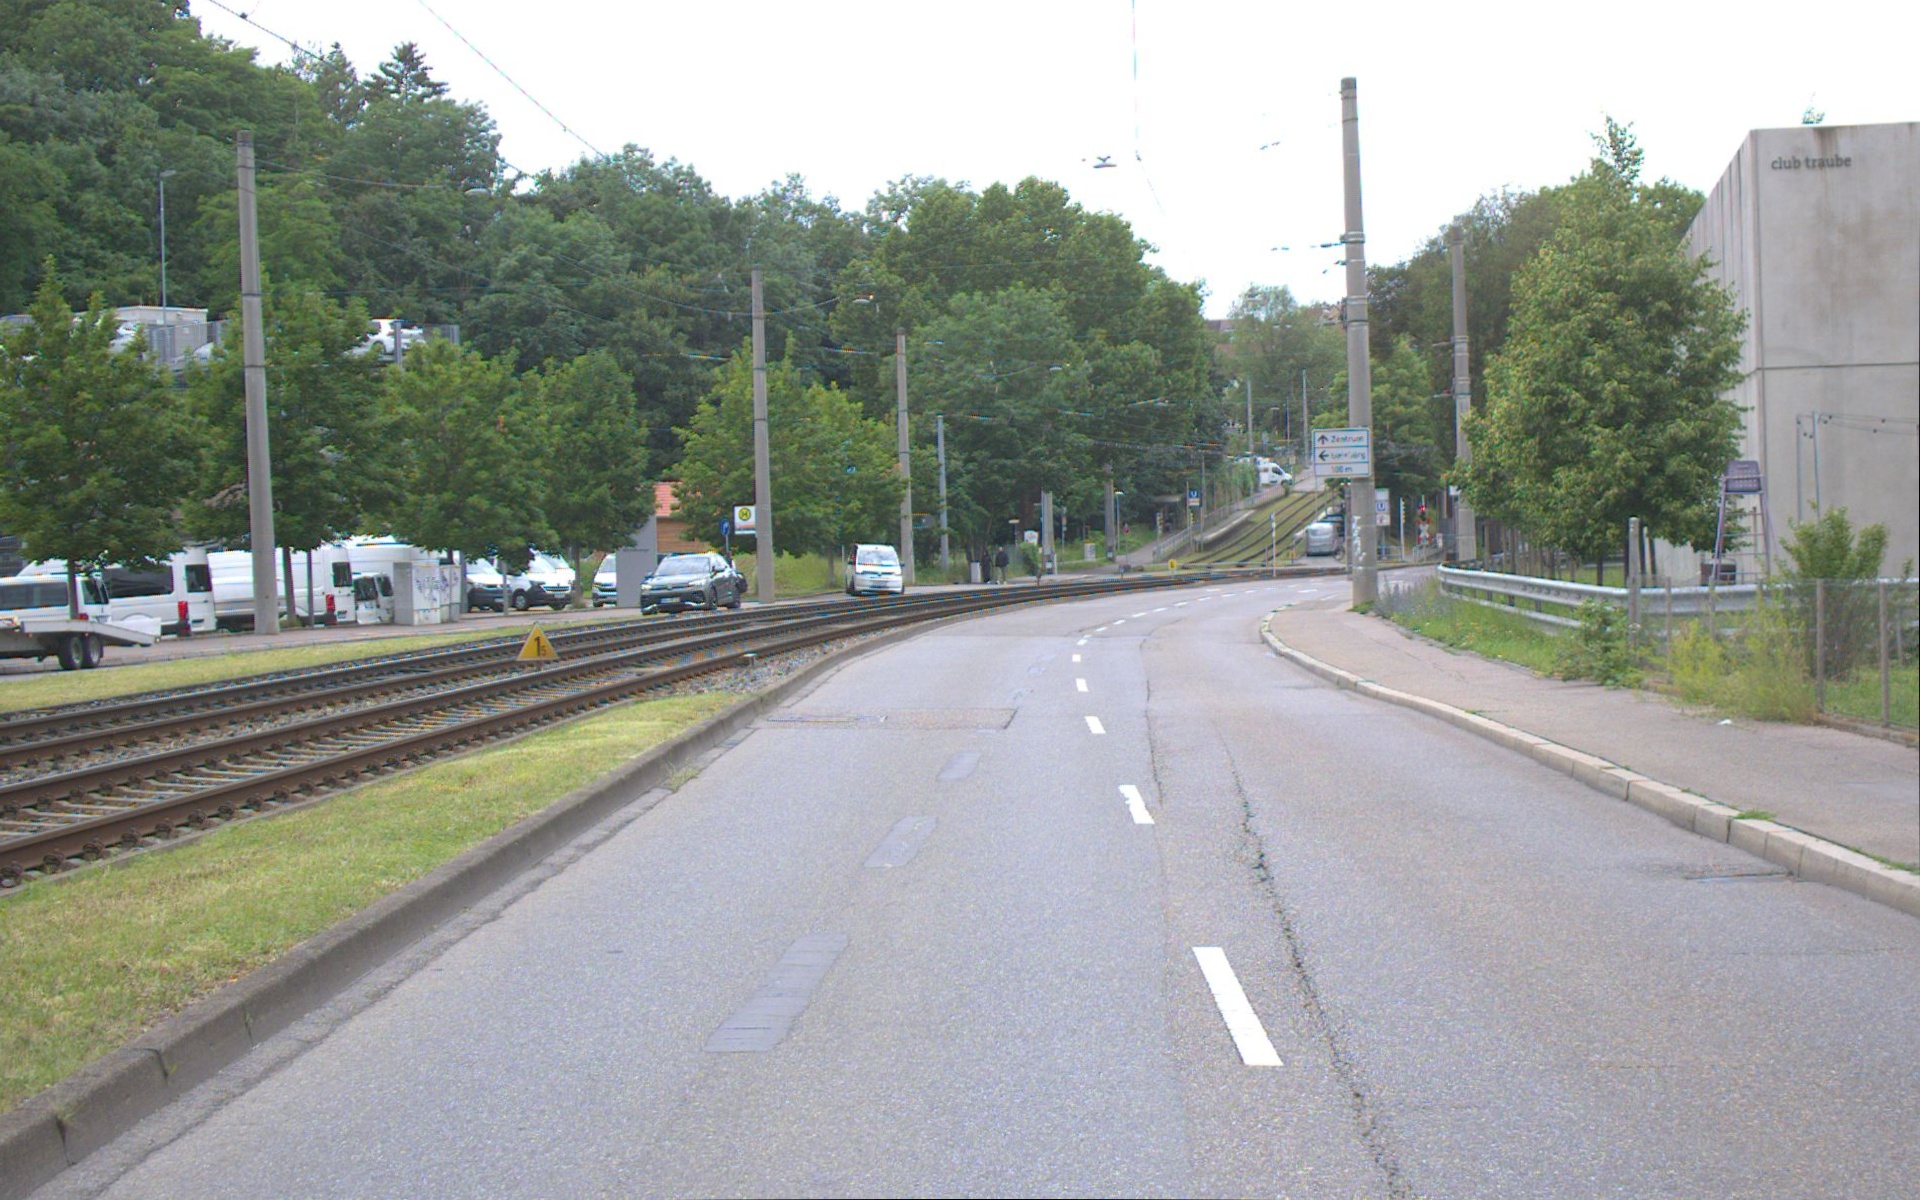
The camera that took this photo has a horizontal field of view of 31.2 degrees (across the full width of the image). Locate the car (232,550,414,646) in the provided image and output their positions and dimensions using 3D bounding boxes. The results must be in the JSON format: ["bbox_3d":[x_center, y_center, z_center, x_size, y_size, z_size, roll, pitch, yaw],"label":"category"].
[{"bbox_3d":[-17.730,-0.068,95.797,4.367,2.098,2.003,7,2,7],"label":"car"}]

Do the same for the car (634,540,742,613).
[{"bbox_3d":[-7.005,-0.601,89.067,1.994,1.733,4.533,-3,0,5],"label":"car"}]

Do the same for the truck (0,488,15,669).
[{"bbox_3d":[-16.415,-0.173,47.732,2.757,2.732,9.216,-3,1,8],"label":"truck"}]

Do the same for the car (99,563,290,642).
[{"bbox_3d":[-19.739,0.062,88.742,4.367,1.904,2.003,-1,1,7],"label":"car"}]

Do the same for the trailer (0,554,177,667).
[{"bbox_3d":[-15.171,0.175,55.704,2.383,1.692,6.946,-3,0,9],"label":"trailer"}]

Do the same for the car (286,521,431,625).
[{"bbox_3d":[-18.158,-0.852,104.051,2.109,3.009,5.933,-1,1,13],"label":"car"}]

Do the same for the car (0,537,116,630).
[{"bbox_3d":[-21.372,-0.355,76.870,4.367,2.003,2.003,-1,1,7],"label":"car"}]

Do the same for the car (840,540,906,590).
[{"bbox_3d":[-3.408,-1.386,133.759,2.159,1.881,5.074,1,1,-6],"label":"car"}]

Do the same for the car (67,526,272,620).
[{"bbox_3d":[-19.159,-0.655,83.383,4.367,2.165,2.003,-1,1,7],"label":"car"}]

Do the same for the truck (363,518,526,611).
[{"bbox_3d":[-17.845,-1.208,118.784,5.933,3.074,2.115,-1,1,41],"label":"truck"}]

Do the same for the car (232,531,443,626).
[{"bbox_3d":[-17.870,-0.615,98.841,5.475,2.593,2.246,-1,1,11],"label":"car"}]

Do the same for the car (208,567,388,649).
[{"bbox_3d":[-17.959,0.217,93.373,4.367,2.098,2.003,-1,1,7],"label":"car"}]

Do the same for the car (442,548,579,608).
[{"bbox_3d":[-15.825,-0.769,120.824,4.726,2.007,1.996,-1,1,38],"label":"car"}]

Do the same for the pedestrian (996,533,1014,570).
[{"bbox_3d":[2.102,-2.287,160.896,0.628,1.707,0.855,1,1,14],"label":"pedestrian"}]

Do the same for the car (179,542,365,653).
[{"bbox_3d":[-18.190,-0.084,90.998,4.367,2.809,2.003,-1,1,7],"label":"car"}]

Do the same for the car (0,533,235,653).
[{"bbox_3d":[-19.835,-0.180,80.836,4.967,2.689,2.115,-1,1,7],"label":"car"}]

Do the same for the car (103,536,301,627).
[{"bbox_3d":[-18.922,-0.477,85.877,4.367,2.165,2.003,-1,1,7],"label":"car"}]
